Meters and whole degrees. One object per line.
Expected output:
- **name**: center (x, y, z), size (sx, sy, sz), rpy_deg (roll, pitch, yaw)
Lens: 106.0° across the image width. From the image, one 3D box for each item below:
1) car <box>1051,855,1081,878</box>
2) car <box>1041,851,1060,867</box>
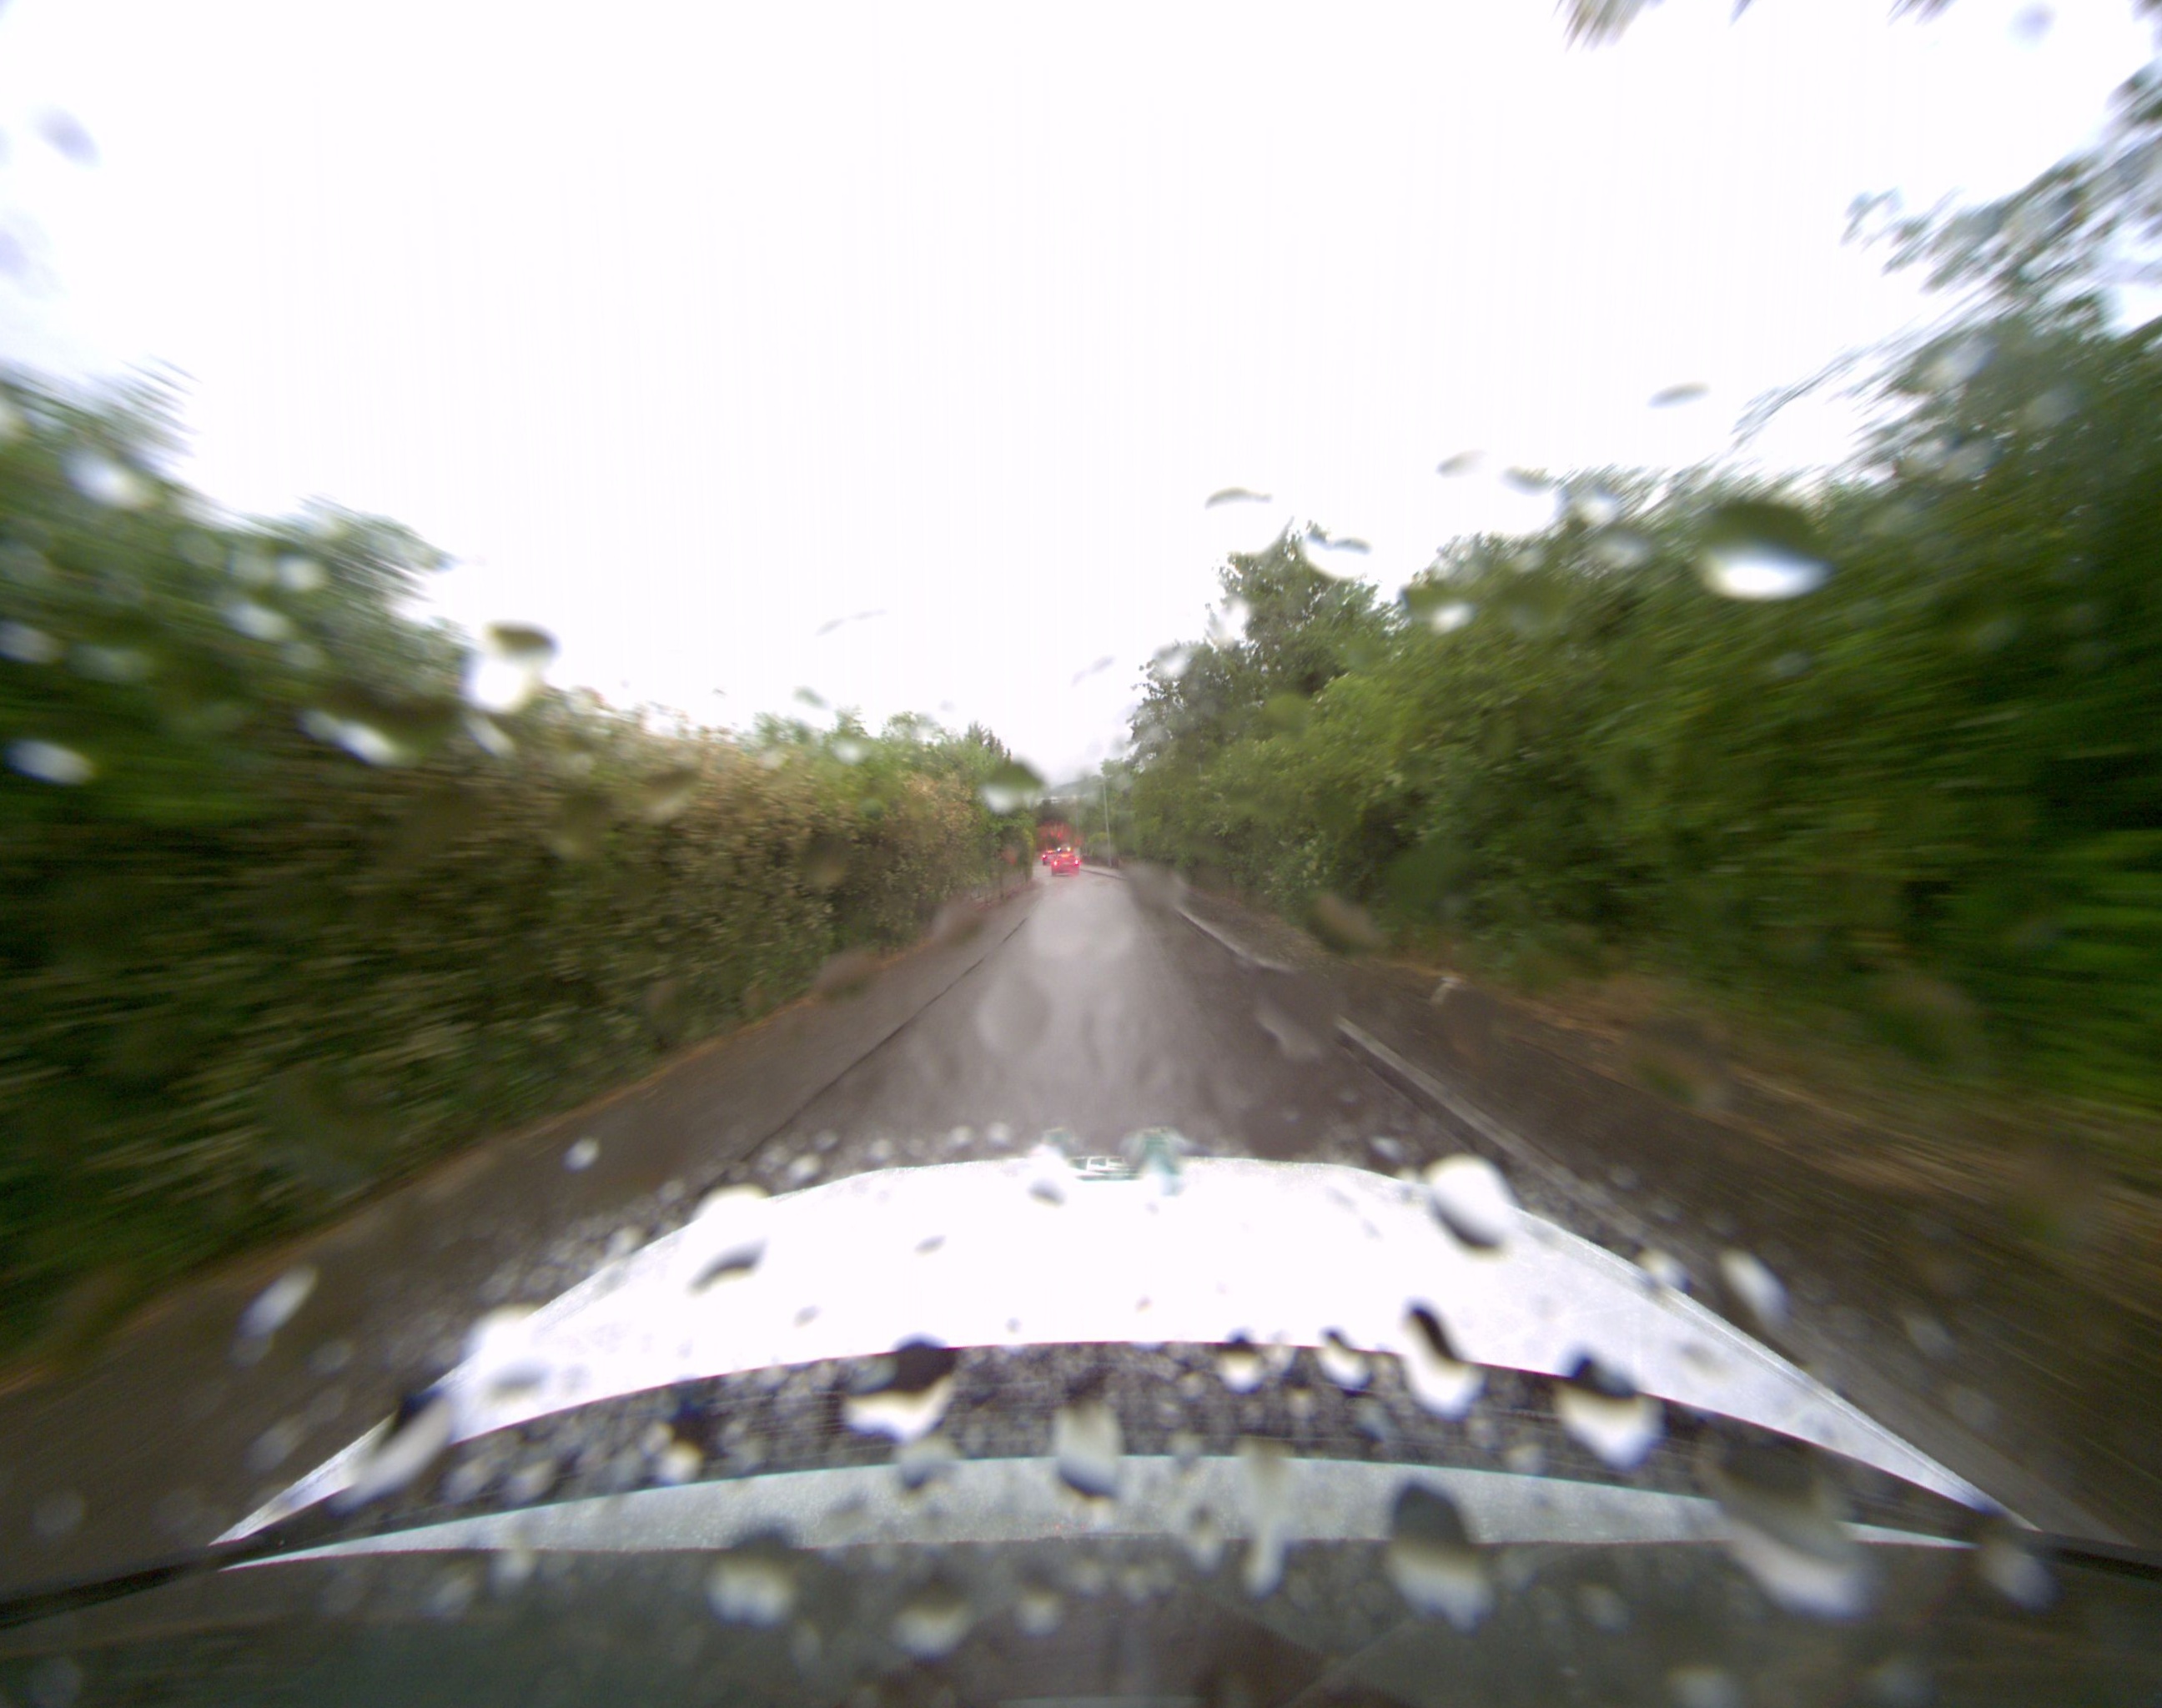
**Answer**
- **car**: center (-1.065, 0.800, 55.407), size (1.831, 1.464, 3.994), rpy_deg (-1, 0, -4)
- **car**: center (-3.359, 0.494, 89.724), size (1.671, 1.565, 3.799), rpy_deg (-2, 2, 4)
